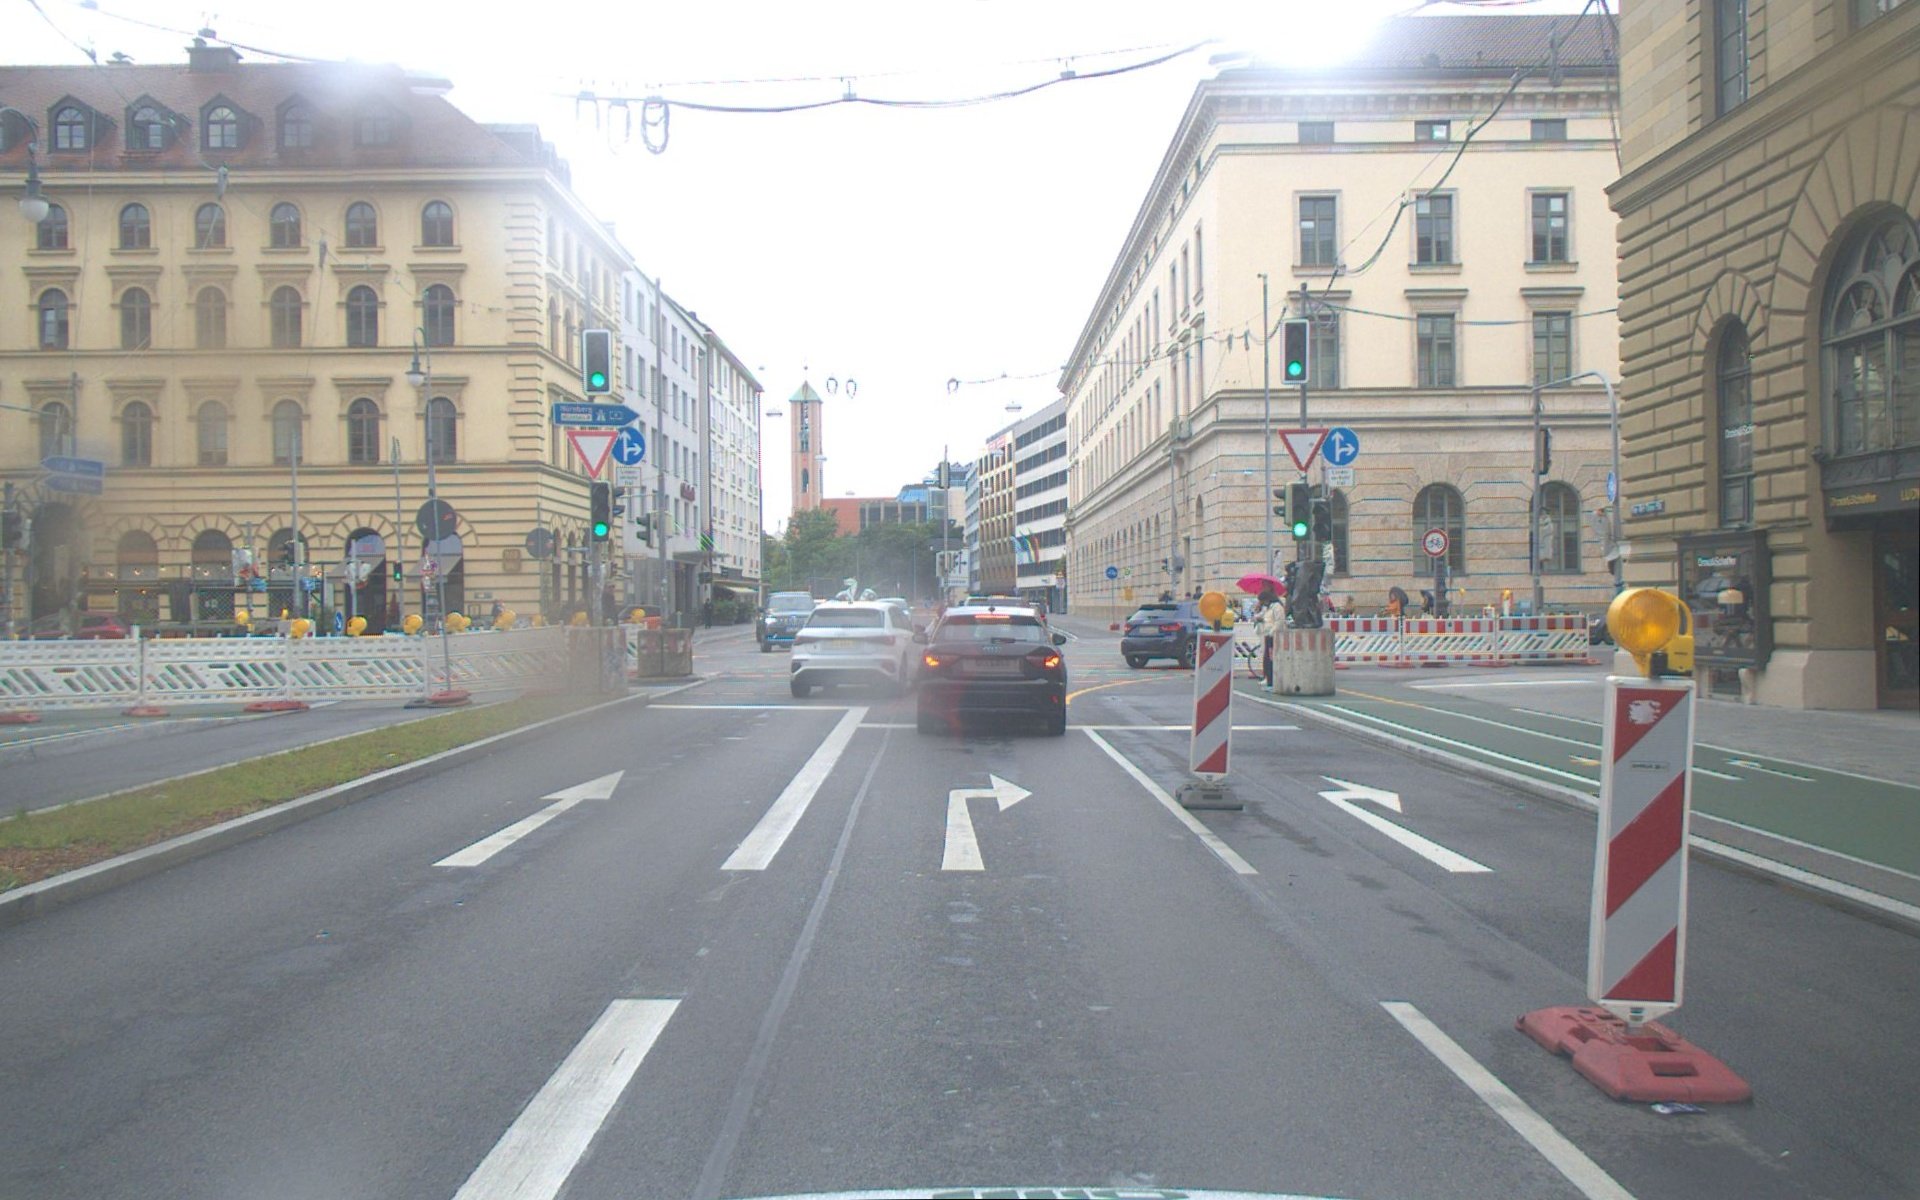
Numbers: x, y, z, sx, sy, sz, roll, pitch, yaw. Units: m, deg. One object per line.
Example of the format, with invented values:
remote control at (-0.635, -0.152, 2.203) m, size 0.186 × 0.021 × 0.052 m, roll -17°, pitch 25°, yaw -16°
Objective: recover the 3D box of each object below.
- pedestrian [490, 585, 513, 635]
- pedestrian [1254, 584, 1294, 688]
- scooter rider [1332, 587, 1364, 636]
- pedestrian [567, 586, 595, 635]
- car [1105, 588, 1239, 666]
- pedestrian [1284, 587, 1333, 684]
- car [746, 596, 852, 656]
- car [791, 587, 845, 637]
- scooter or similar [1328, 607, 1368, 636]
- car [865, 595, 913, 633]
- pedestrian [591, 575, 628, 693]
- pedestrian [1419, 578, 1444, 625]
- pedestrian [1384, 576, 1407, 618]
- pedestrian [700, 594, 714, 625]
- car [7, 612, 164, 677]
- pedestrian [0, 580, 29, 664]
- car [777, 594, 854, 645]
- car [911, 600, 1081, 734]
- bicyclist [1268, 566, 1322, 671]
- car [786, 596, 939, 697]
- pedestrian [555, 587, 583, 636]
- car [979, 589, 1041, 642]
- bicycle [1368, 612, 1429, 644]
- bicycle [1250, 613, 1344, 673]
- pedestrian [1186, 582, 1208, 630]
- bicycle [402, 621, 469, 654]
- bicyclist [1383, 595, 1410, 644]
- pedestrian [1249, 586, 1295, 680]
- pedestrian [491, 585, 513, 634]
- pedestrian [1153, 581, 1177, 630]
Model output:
pedestrian at (-16.706, 0.373, 60.303) m, size 0.720 × 1.803 × 0.737 m, roll 0°, pitch 0°, yaw -11°
pedestrian at (5.014, 0.566, 26.435) m, size 0.520 × 1.648 × 0.674 m, roll 0°, pitch 0°, yaw 2°
scooter rider at (13.028, 0.378, 55.541) m, size 0.913 × 1.651 × 0.592 m, roll 0°, pitch 0°, yaw 1°
pedestrian at (-14.178, 0.382, 61.875) m, size 0.718 × 1.803 × 0.739 m, roll 0°, pitch 0°, yaw 20°
car at (4.817, 0.555, 37.131) m, size 1.734 × 1.645 × 3.995 m, roll 0°, pitch 0°, yaw 27°
pedestrian at (5.764, 0.578, 27.367) m, size 0.688 × 1.594 × 0.682 m, roll 0°, pitch 0°, yaw 2°
car at (-4.993, 0.777, 52.040) m, size 1.952 × 1.765 × 4.589 m, roll -1°, pitch 0°, yaw 12°
car at (-6.096, 0.491, 71.243) m, size 2.194 × 2.049 × 4.446 m, roll -1°, pitch 0°, yaw -4°
scooter or similar at (13.029, 0.719, 55.540) m, size 1.186 × 0.982 × 0.588 m, roll 0°, pitch 0°, yaw 1°
car at (-3.021, 0.593, 71.321) m, size 1.953 × 1.550 × 4.232 m, roll -1°, pitch 0°, yaw -1°
pedestrian at (-5.392, 0.518, 25.484) m, size 0.503 × 1.773 × 1.041 m, roll -1°, pitch 0°, yaw -10°
pedestrian at (17.541, 0.054, 61.549) m, size 0.700 × 1.723 × 0.820 m, roll 0°, pitch 0°, yaw 1°
pedestrian at (16.424, -0.118, 62.413) m, size 0.651 × 1.554 × 0.820 m, roll 0°, pitch 0°, yaw -1°
pedestrian at (-14.801, 0.535, 96.878) m, size 0.722 × 1.803 × 0.736 m, roll 0°, pitch 0°, yaw -1°
car at (-26.058, 1.313, 49.377) m, size 3.666 × 1.830 × 1.866 m, roll -1°, pitch 0°, yaw -4°
pedestrian at (-20.837, 0.478, 35.976) m, size 0.721 × 1.803 × 0.737 m, roll 0°, pitch 0°, yaw 14°
car at (-5.159, 0.666, 59.534) m, size 1.755 × 1.707 × 4.237 m, roll -1°, pitch 0°, yaw 9°
car at (0.360, 0.721, 19.764) m, size 1.825 × 1.412 × 3.999 m, roll 0°, pitch 0°, yaw -1°
bicyclist at (6.118, 0.338, 30.187) m, size 0.785 × 1.886 × 0.564 m, roll 0°, pitch 0°, yaw 41°
car at (-1.459, 0.670, 26.425) m, size 1.775 × 1.449 × 4.455 m, roll 1°, pitch 0°, yaw 5°
pedestrian at (-14.443, 0.407, 61.142) m, size 0.718 × 1.803 × 0.761 m, roll 0°, pitch 0°, yaw 20°
car at (1.604, 0.488, 54.372) m, size 1.827 × 1.629 × 3.850 m, roll -1°, pitch 0°, yaw -1°
bicycle at (14.977, 0.961, 56.528) m, size 1.917 × 1.058 × 0.795 m, roll 0°, pitch 0°, yaw 2°
bicycle at (6.136, 0.770, 30.167) m, size 1.627 × 1.029 × 0.583 m, roll 0°, pitch 0°, yaw 42°
pedestrian at (9.005, 0.231, 62.754) m, size 0.573 × 1.786 × 0.818 m, roll 0°, pitch 0°, yaw 30°
bicycle at (-18.316, 1.303, 57.785) m, size 2.164 × 1.118 × 0.595 m, roll -1°, pitch 0°, yaw -26°
bicyclist at (14.926, 0.661, 56.533) m, size 0.728 × 1.643 × 0.795 m, roll 0°, pitch 0°, yaw 2°
pedestrian at (5.362, 0.557, 28.448) m, size 0.688 × 1.594 × 0.584 m, roll 0°, pitch 0°, yaw 2°
pedestrian at (-16.900, 0.359, 61.035) m, size 0.720 × 1.803 × 0.737 m, roll 0°, pitch 0°, yaw -11°
pedestrian at (7.630, 0.201, 61.651) m, size 0.800 × 1.786 × 0.680 m, roll 0°, pitch 0°, yaw 16°
